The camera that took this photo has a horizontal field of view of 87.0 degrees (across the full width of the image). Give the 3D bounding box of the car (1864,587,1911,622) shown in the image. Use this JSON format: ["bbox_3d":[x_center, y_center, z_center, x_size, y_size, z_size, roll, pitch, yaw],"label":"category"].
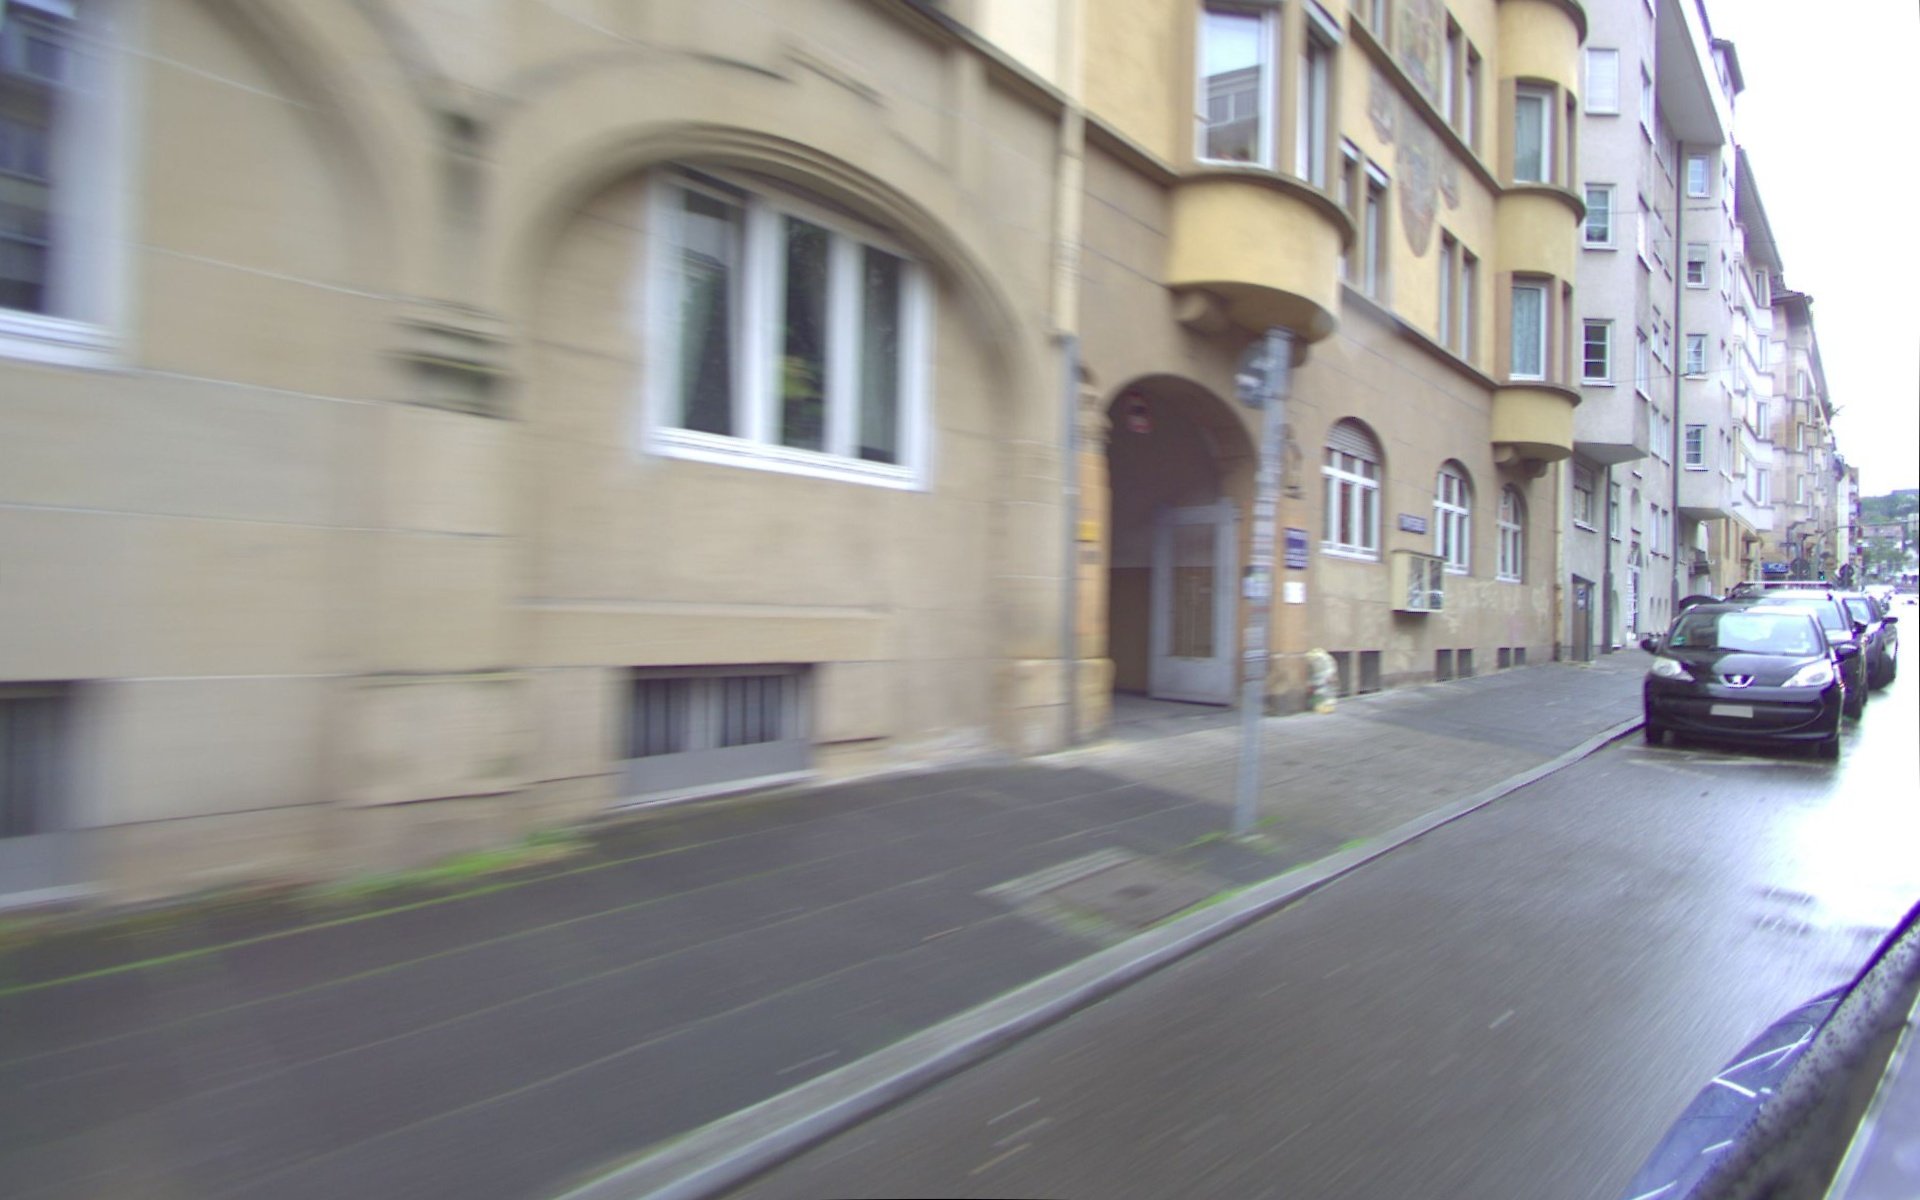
[{"bbox_3d":[55.349,0.247,60.388,1.994,1.994,3.937,1,1,44],"label":"car"}]

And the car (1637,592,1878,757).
[{"bbox_3d":[8.858,0.664,11.116,1.630,1.470,3.935,1,1,45],"label":"car"}]

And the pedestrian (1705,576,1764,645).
[{"bbox_3d":[19.876,0.255,25.968,1.122,1.734,1.085,0,0,42],"label":"pedestrian"}]

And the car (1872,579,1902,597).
[{"bbox_3d":[93.196,-1.166,101.750,3.935,1.794,1.995,0,0,-45],"label":"car"}]

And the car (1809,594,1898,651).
[{"bbox_3d":[25.179,0.582,28.469,1.645,1.450,3.962,1,1,45],"label":"car"}]

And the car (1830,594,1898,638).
[{"bbox_3d":[33.120,0.552,37.041,1.645,1.496,3.962,1,1,45],"label":"car"}]

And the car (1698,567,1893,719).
[{"bbox_3d":[11.867,0.499,14.277,1.738,1.821,4.196,1,1,45],"label":"car"}]

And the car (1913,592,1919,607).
[{"bbox_3d":[132.093,-0.068,138.770,1.993,1.994,3.937,0,0,43],"label":"car"}]

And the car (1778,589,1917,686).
[{"bbox_3d":[16.220,0.598,18.431,1.645,1.565,3.962,1,1,45],"label":"car"}]

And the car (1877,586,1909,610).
[{"bbox_3d":[80.329,-0.214,87.103,1.994,1.994,3.937,1,1,44],"label":"car"}]

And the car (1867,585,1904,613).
[{"bbox_3d":[69.760,-0.094,76.245,1.994,1.994,3.937,1,1,44],"label":"car"}]
